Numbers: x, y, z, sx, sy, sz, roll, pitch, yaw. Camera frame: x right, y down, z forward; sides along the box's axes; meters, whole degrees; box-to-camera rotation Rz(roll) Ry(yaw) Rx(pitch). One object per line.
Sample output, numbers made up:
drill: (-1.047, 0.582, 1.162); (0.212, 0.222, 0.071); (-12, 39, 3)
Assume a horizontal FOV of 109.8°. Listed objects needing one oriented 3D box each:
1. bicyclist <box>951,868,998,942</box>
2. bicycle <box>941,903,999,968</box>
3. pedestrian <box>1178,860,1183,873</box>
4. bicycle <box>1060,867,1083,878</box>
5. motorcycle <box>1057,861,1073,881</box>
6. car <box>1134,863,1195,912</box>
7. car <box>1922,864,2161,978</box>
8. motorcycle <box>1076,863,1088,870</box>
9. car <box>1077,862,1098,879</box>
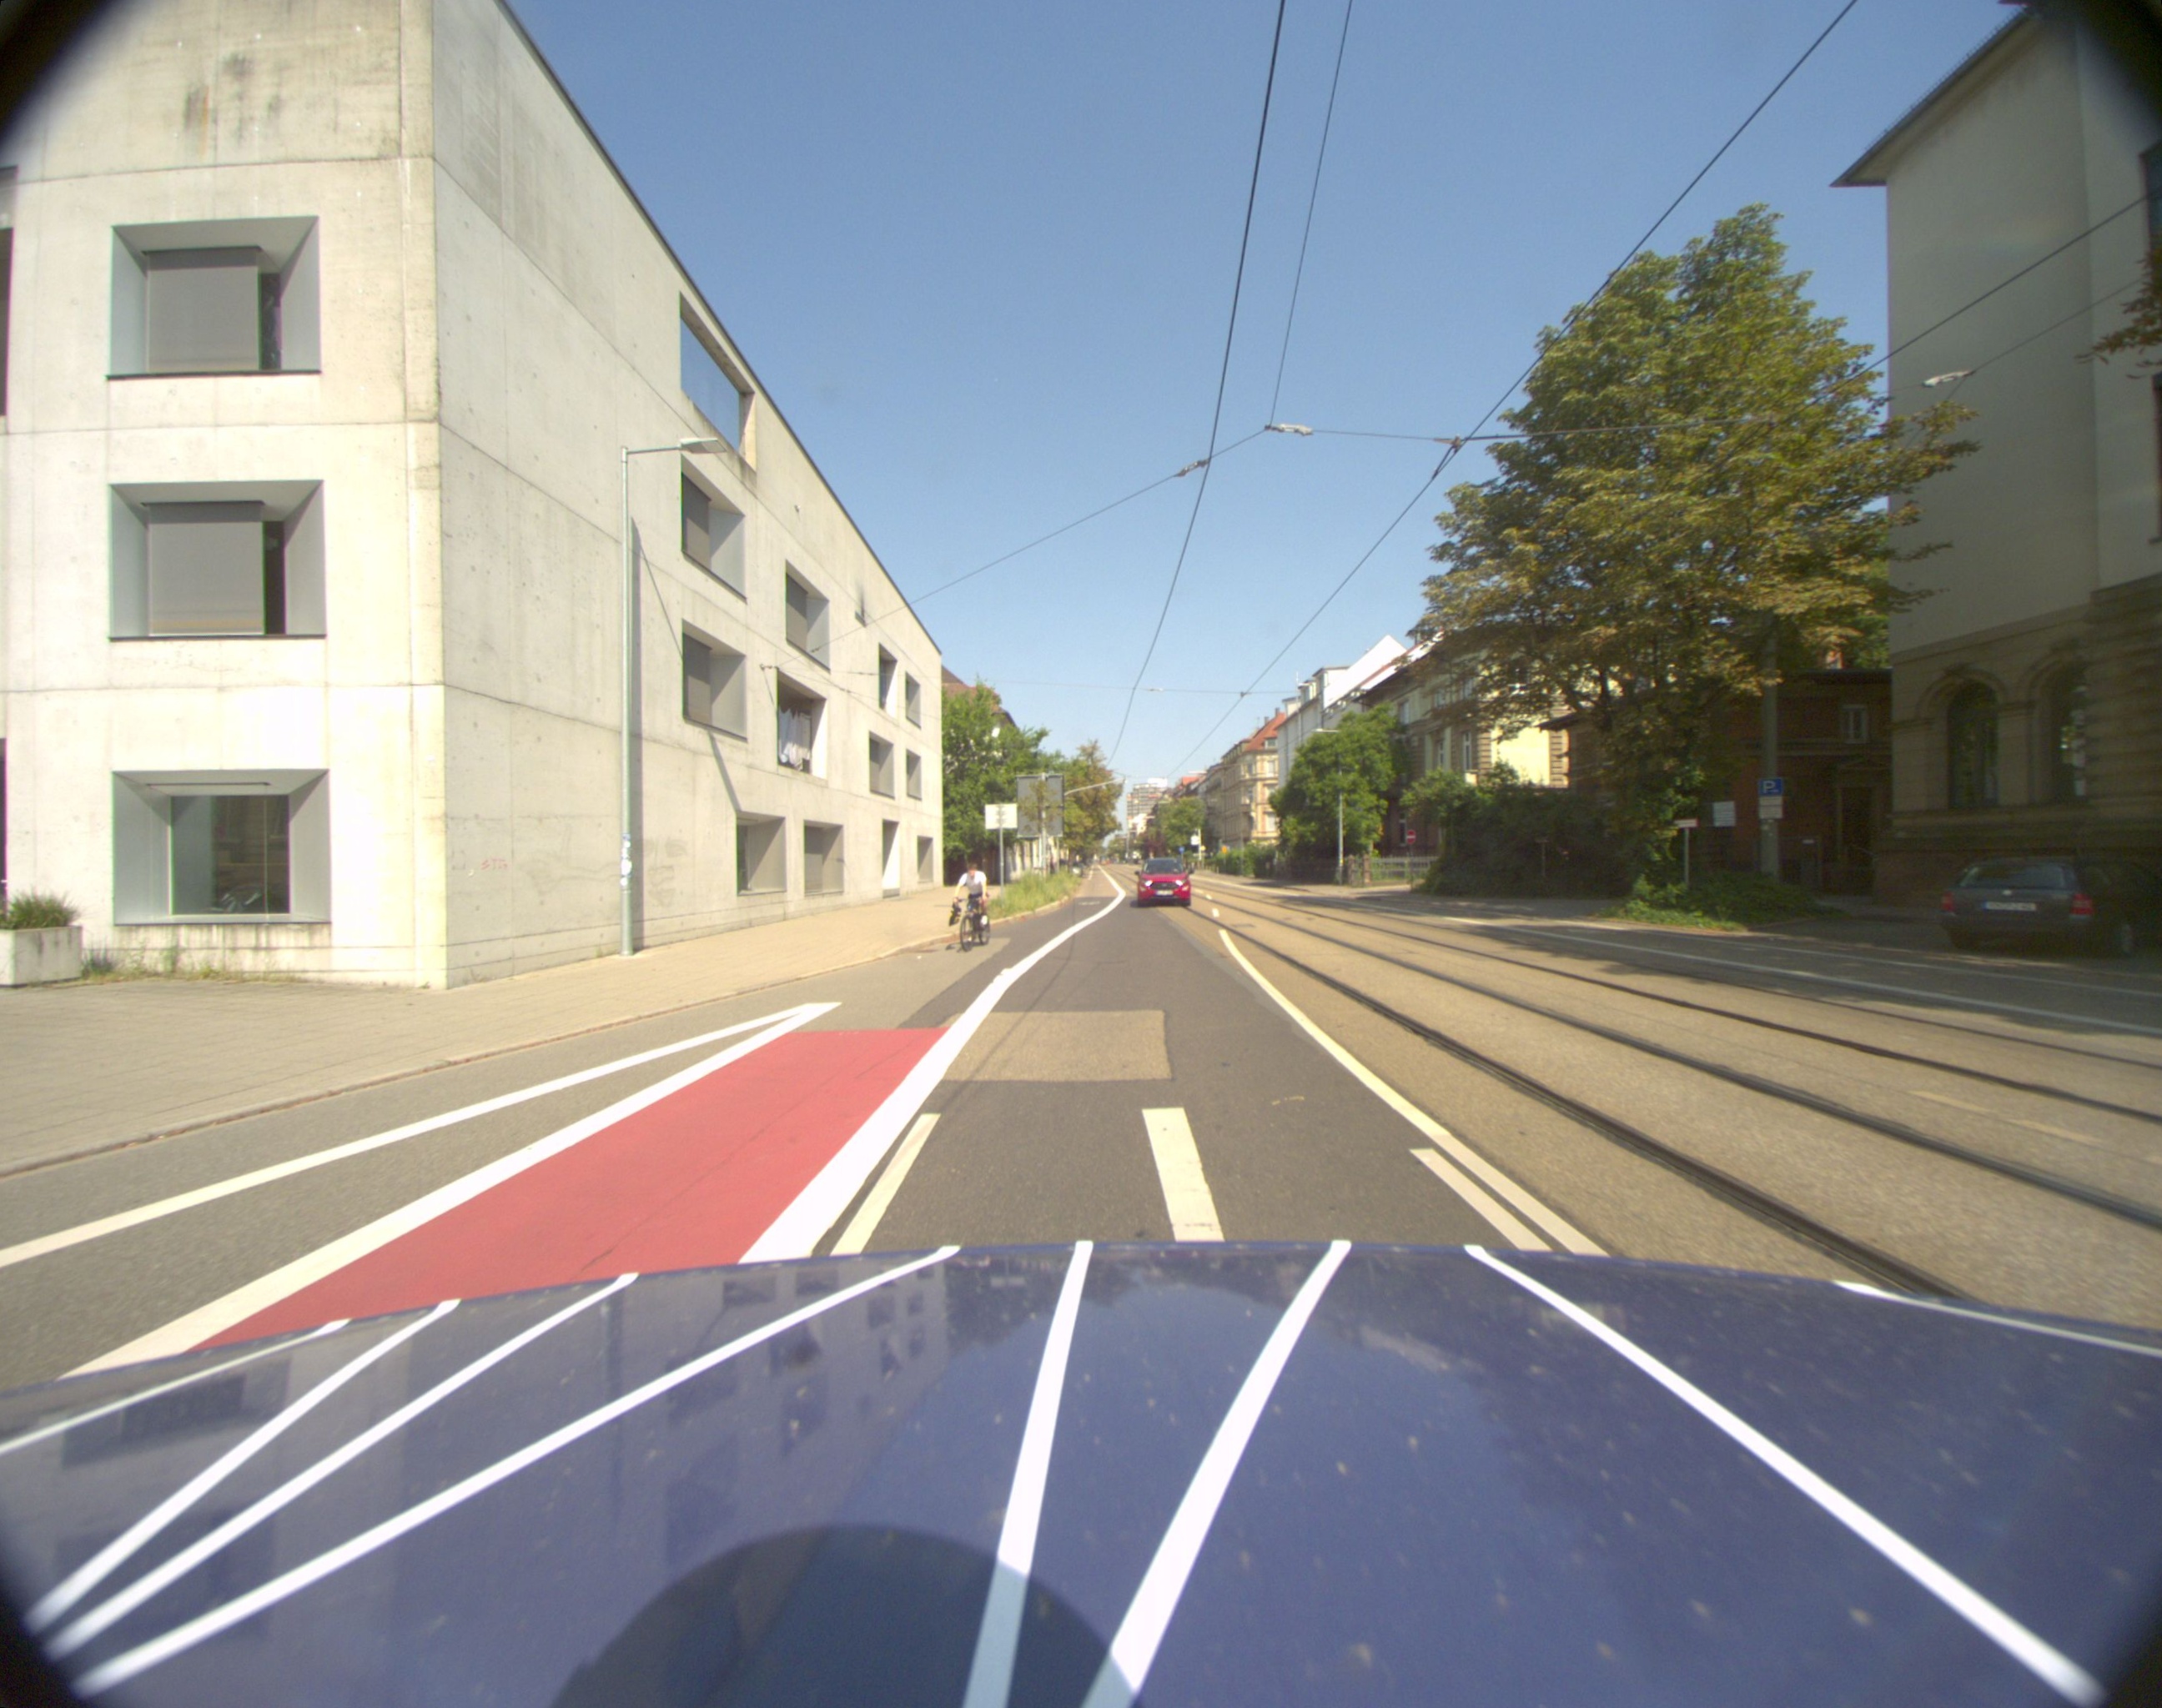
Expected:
bicyclist: (-2.081, 0.981, 14.916); (0.746, 1.403, 0.962); (-1, 0, 2)
bicycle: (-2.113, 1.539, 14.763); (0.741, 1.042, 2.233); (-1, -1, 1)
pedestrian: (14.723, 1.839, 112.164); (0.657, 2.002, 0.974); (0, 0, -1)
bicycle: (-0.820, 1.583, 65.873); (1.927, 0.947, 0.721); (0, 0, 4)
motorcycle: (-1.265, 1.349, 61.740); (0.887, 1.544, 2.413); (0, 0, 9)
car: (2.777, 1.085, 26.038); (1.815, 1.542, 4.022); (-1, -1, 2)
car: (15.601, 0.935, 12.061); (4.435, 1.453, 1.817); (-1, 0, -26)
motorcycle: (0.206, 2.129, 126.548); (1.999, 1.009, 0.797); (2, 0, 1)
car: (0.588, 1.489, 69.084); (1.787, 1.442, 4.751); (0, -1, -1)
